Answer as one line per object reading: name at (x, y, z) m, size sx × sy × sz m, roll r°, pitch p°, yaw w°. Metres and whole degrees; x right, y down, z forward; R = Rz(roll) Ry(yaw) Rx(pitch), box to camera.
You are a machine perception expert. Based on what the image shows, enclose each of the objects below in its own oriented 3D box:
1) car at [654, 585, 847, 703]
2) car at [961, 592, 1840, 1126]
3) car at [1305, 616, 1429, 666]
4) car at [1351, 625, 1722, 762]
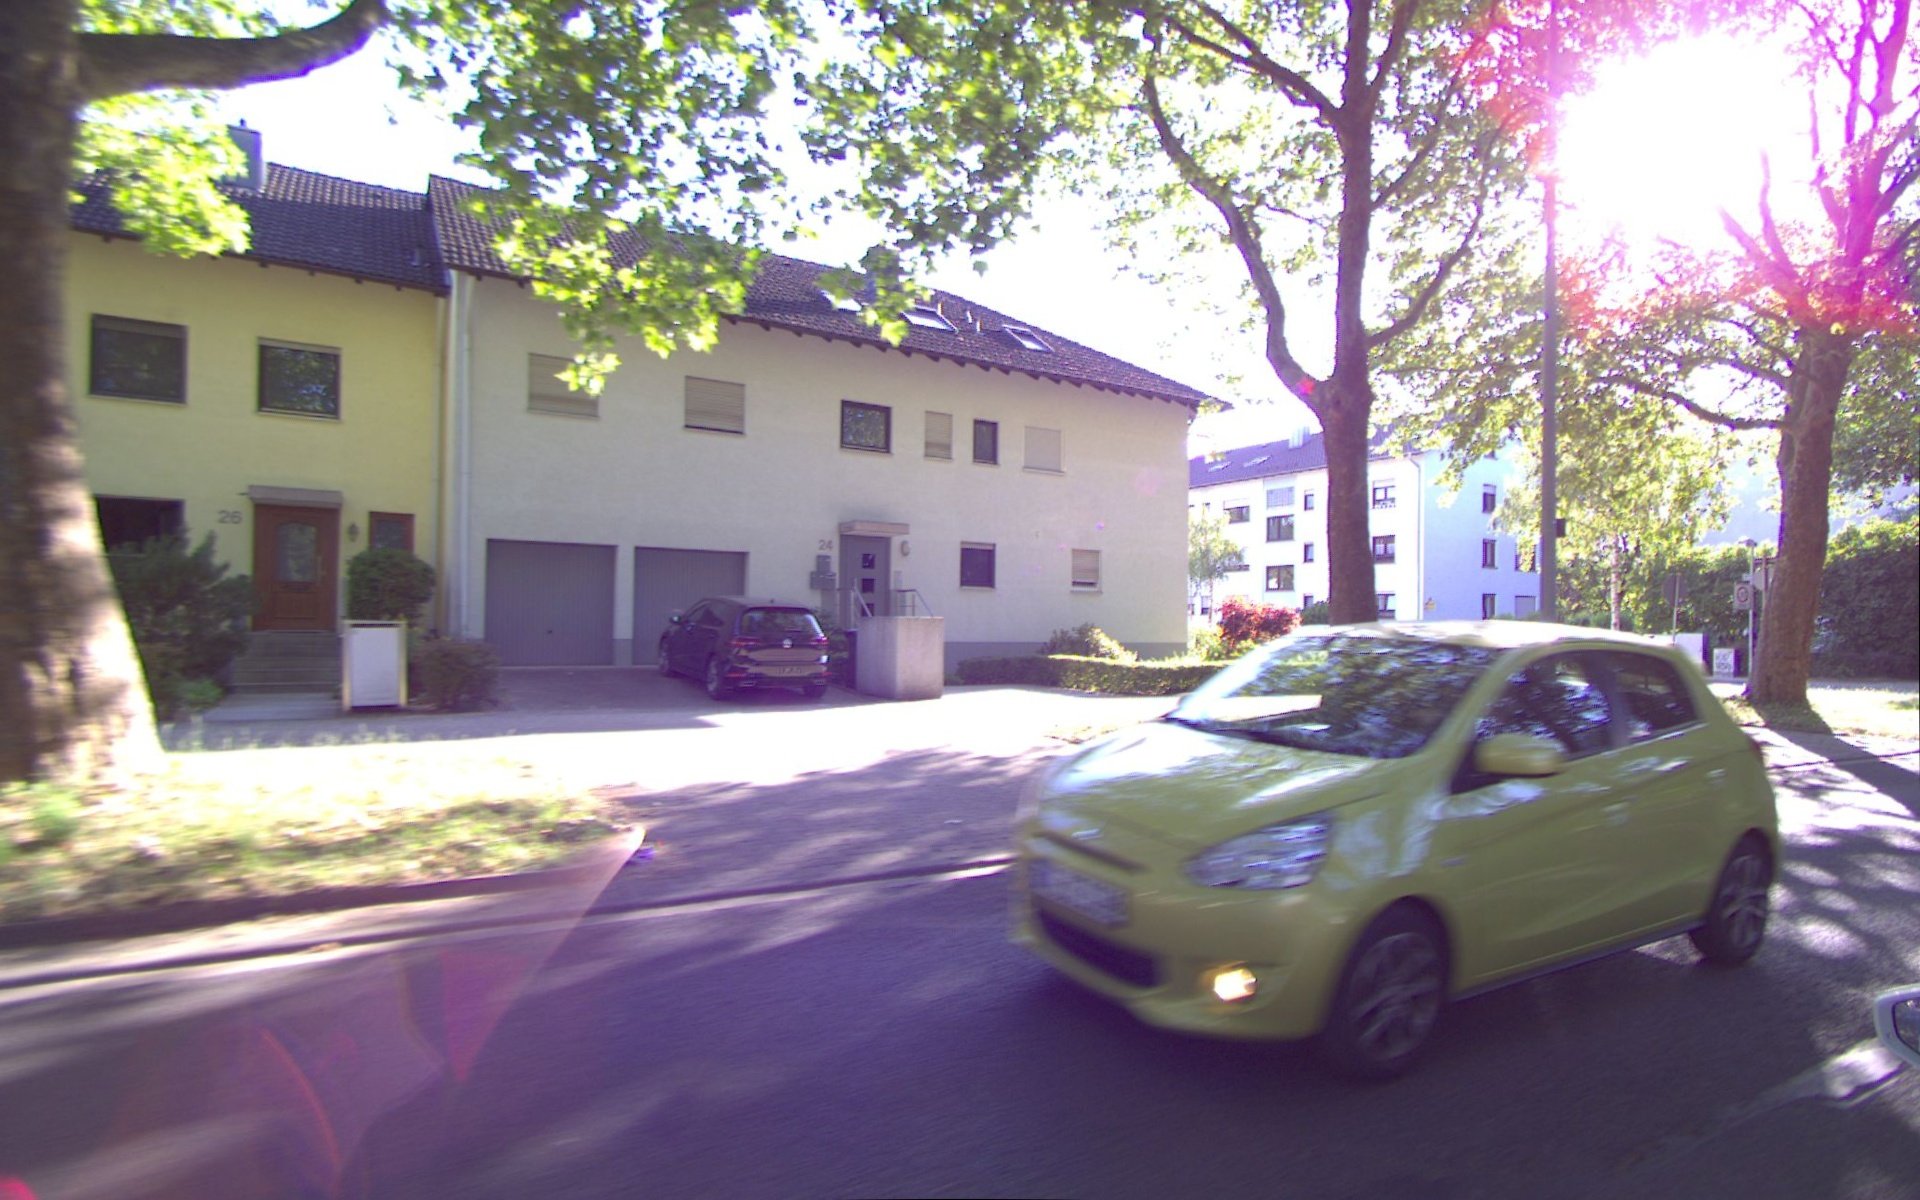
car at (-3.457, 0.602, 15.960) m, size 1.878 × 1.484 × 3.968 m, roll 2°, pitch 2°, yaw -29°
car at (2.088, 0.776, 4.615) m, size 3.792 × 1.533 × 1.776 m, roll 1°, pitch 0°, yaw -29°
car at (13.865, 1.390, 34.173) m, size 3.956 × 1.595 × 1.983 m, roll 2°, pitch -1°, yaw -32°
car at (7.277, 1.083, 13.070) m, size 1.769 × 1.334 × 3.807 m, roll 2°, pitch 0°, yaw -30°
